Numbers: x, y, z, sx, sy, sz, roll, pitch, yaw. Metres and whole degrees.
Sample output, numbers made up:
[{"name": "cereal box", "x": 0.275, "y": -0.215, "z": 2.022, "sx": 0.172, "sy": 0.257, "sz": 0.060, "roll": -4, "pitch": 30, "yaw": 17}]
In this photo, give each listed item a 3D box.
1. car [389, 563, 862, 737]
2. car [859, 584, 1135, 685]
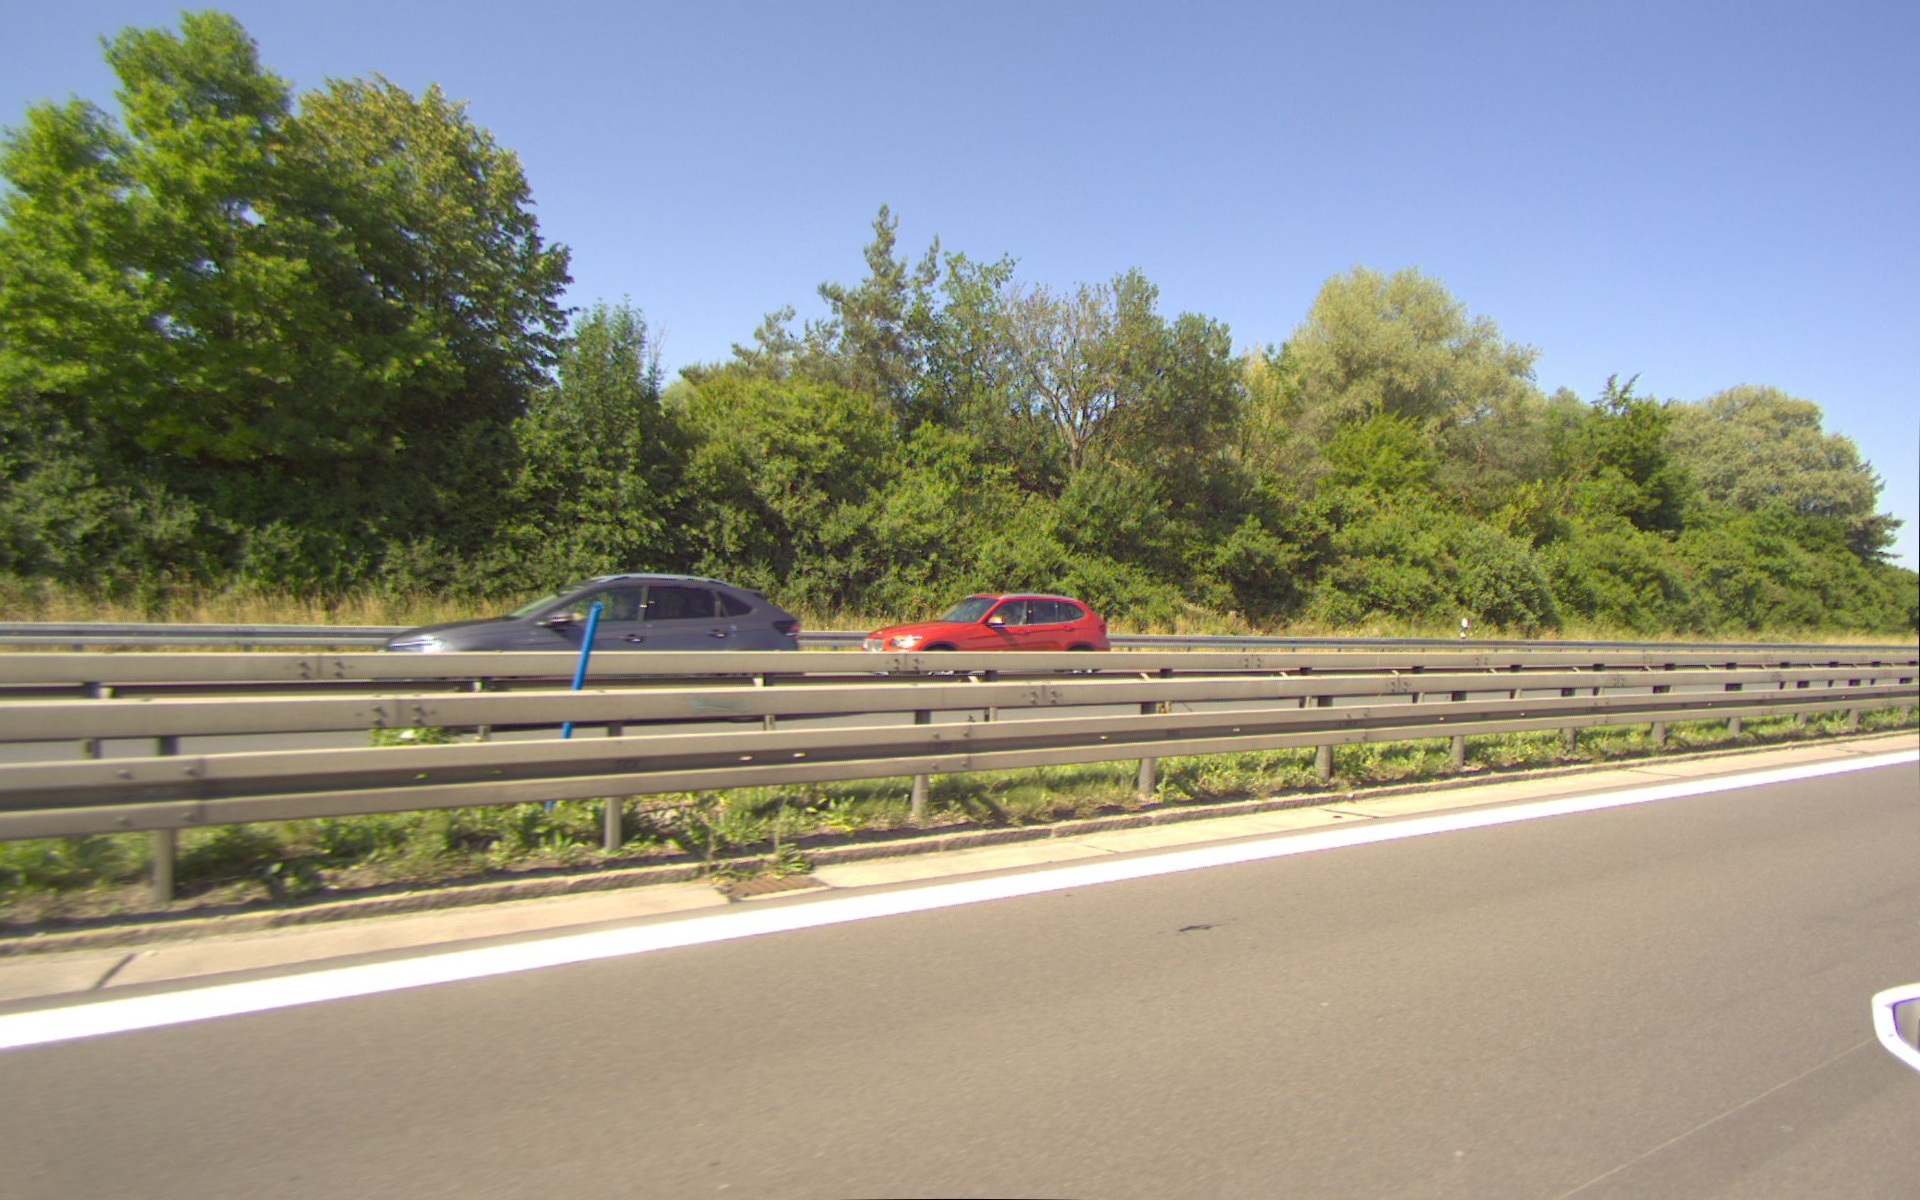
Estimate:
[{"name": "car", "x": -3.423, "y": 0.476, "z": 10.604, "sx": 4.488, "sy": 1.513, "sz": 1.641, "roll": 2, "pitch": 0, "yaw": -31}, {"name": "car", "x": 0.690, "y": 0.567, "z": 16.991, "sx": 4.488, "sy": 1.513, "sz": 1.641, "roll": 2, "pitch": 0, "yaw": -31}]
